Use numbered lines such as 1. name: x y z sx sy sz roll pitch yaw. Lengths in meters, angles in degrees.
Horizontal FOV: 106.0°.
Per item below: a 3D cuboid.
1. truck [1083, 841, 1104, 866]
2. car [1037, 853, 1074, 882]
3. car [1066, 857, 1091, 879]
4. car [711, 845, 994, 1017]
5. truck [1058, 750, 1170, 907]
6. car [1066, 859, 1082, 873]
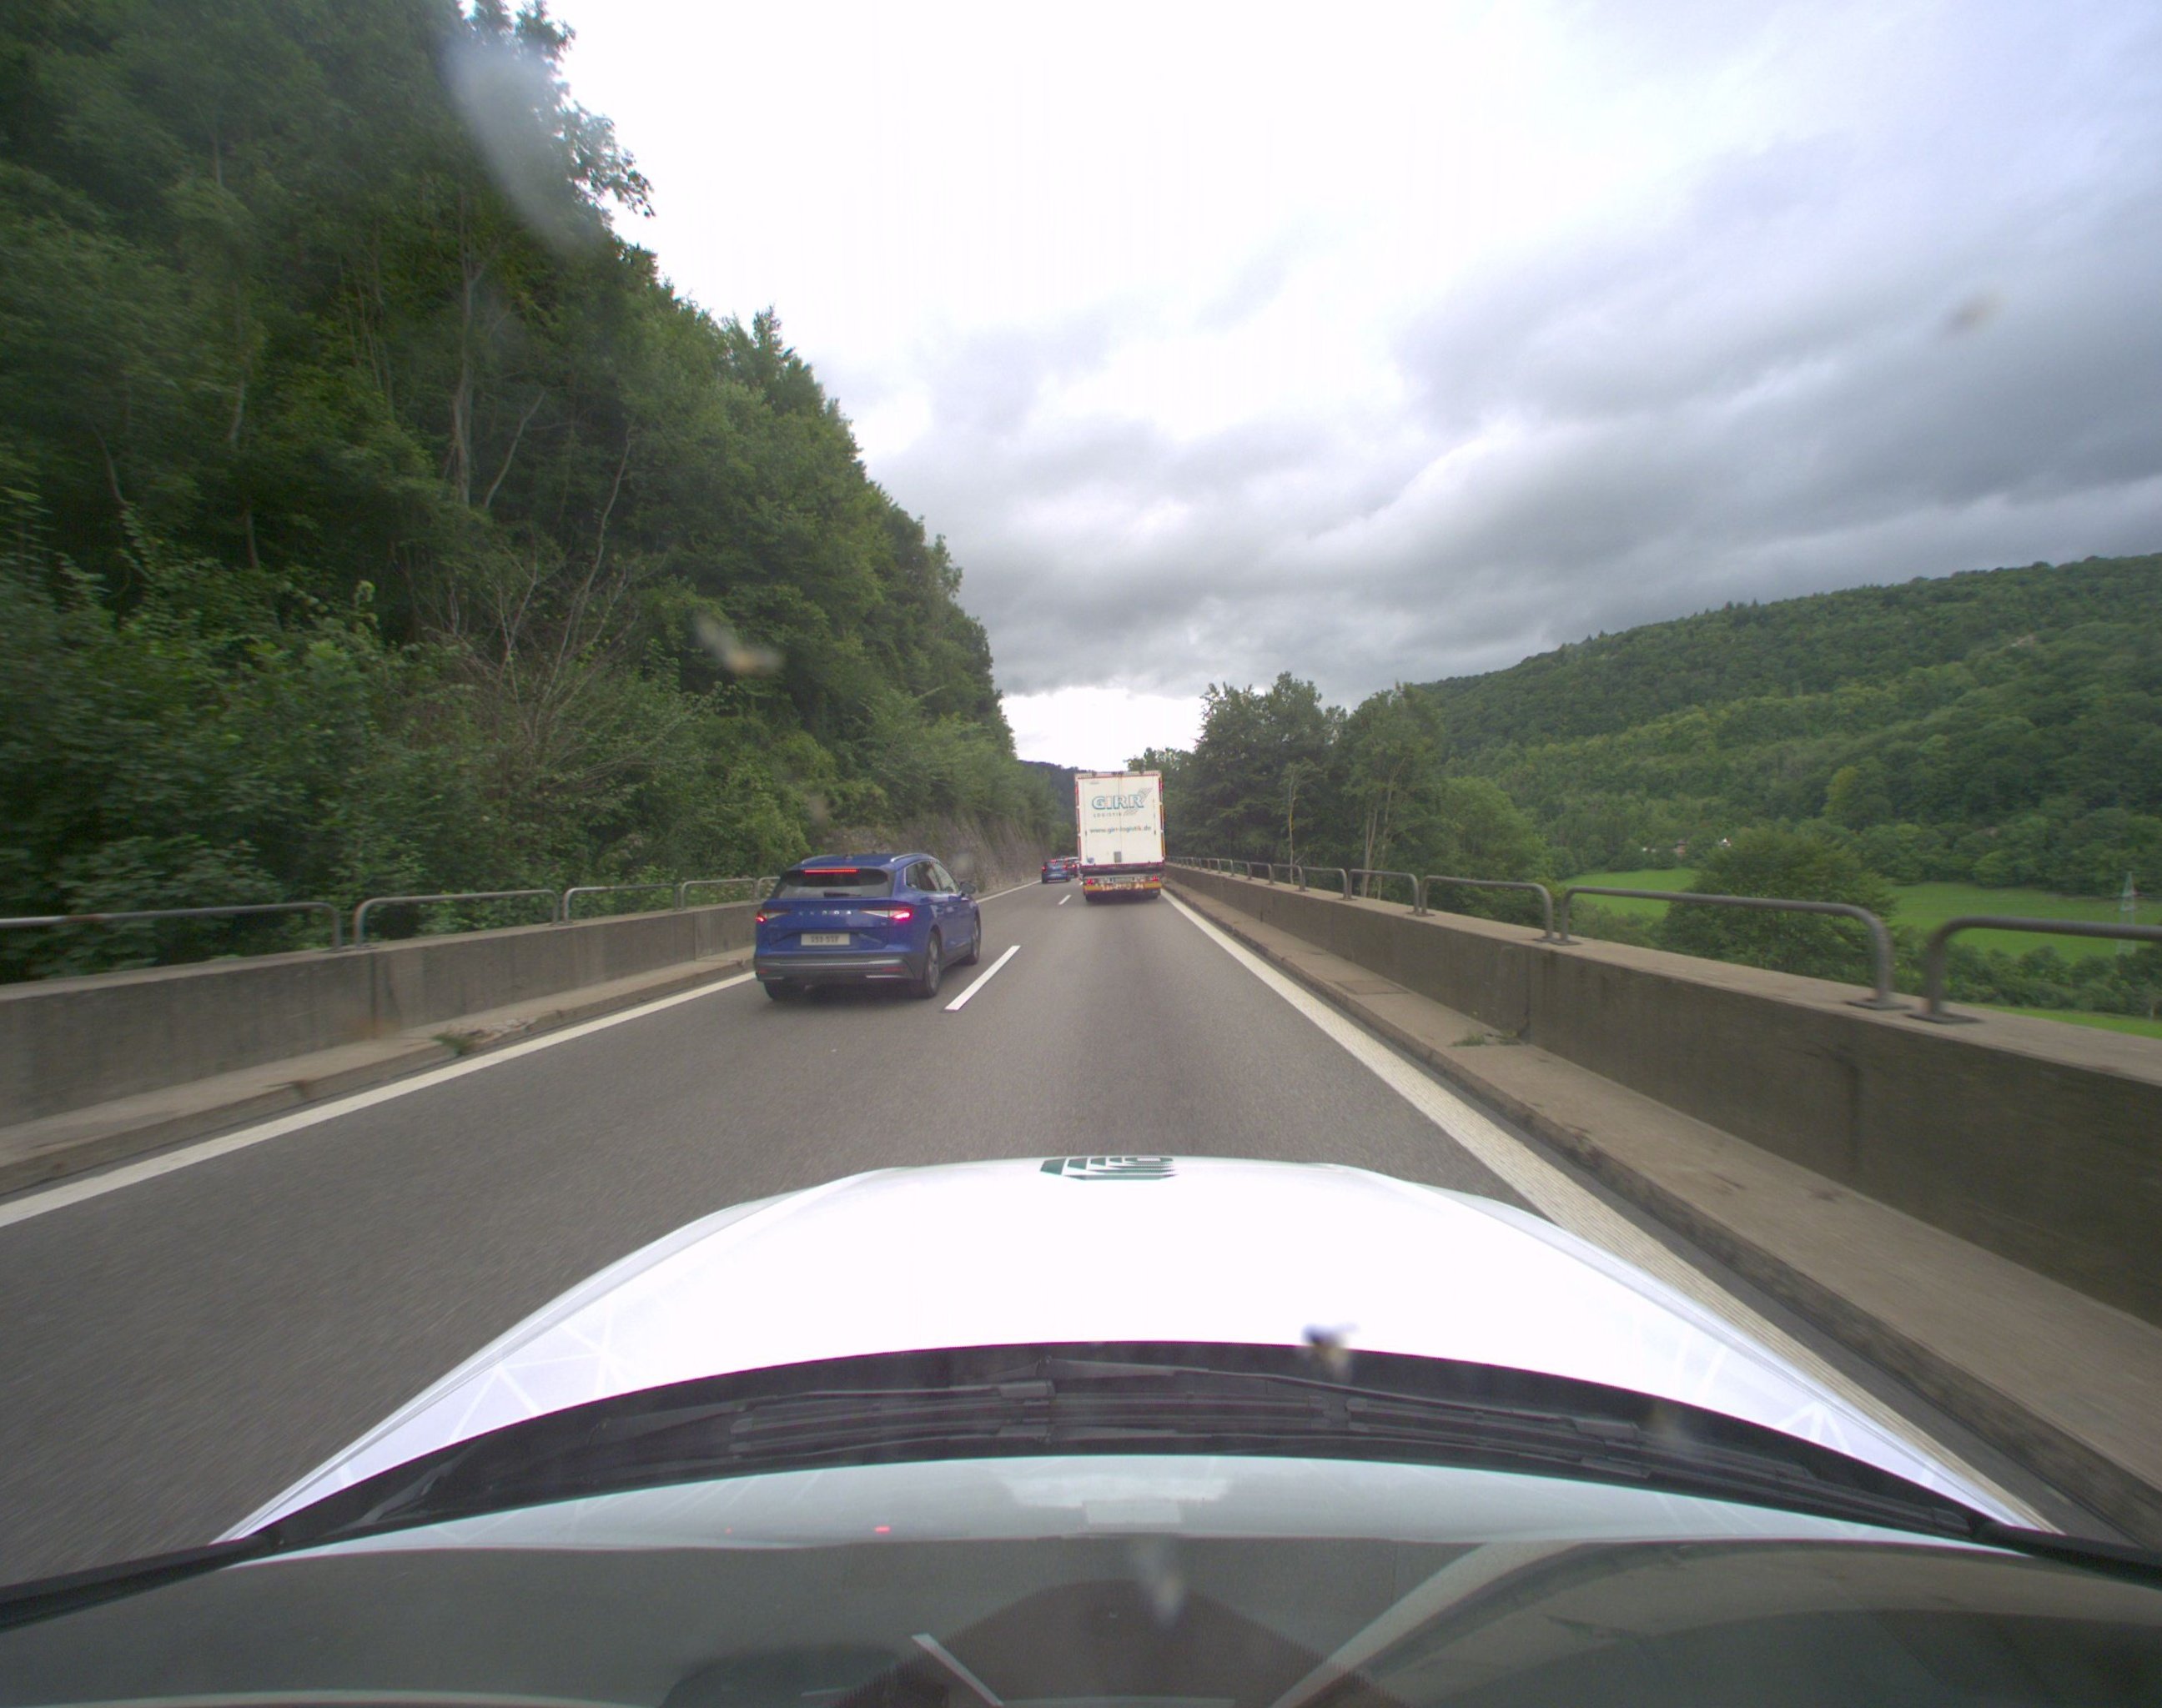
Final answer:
1. truck: 1.932 -0.024 132.095 2.628 3.857 12.347 0 0 -2
2. car: -1.558 0.863 50.837 1.986 1.596 4.354 -4 -1 1
3. car: -0.174 1.042 61.132 1.739 1.587 4.000 1 -1 1
4. car: -2.502 0.746 10.445 1.986 1.632 5.011 -1 0 2
5. truck: 1.304 -0.793 31.462 3.072 4.463 15.165 -3 0 3
6. car: -0.751 1.280 87.070 1.740 1.486 3.999 0 0 -1
